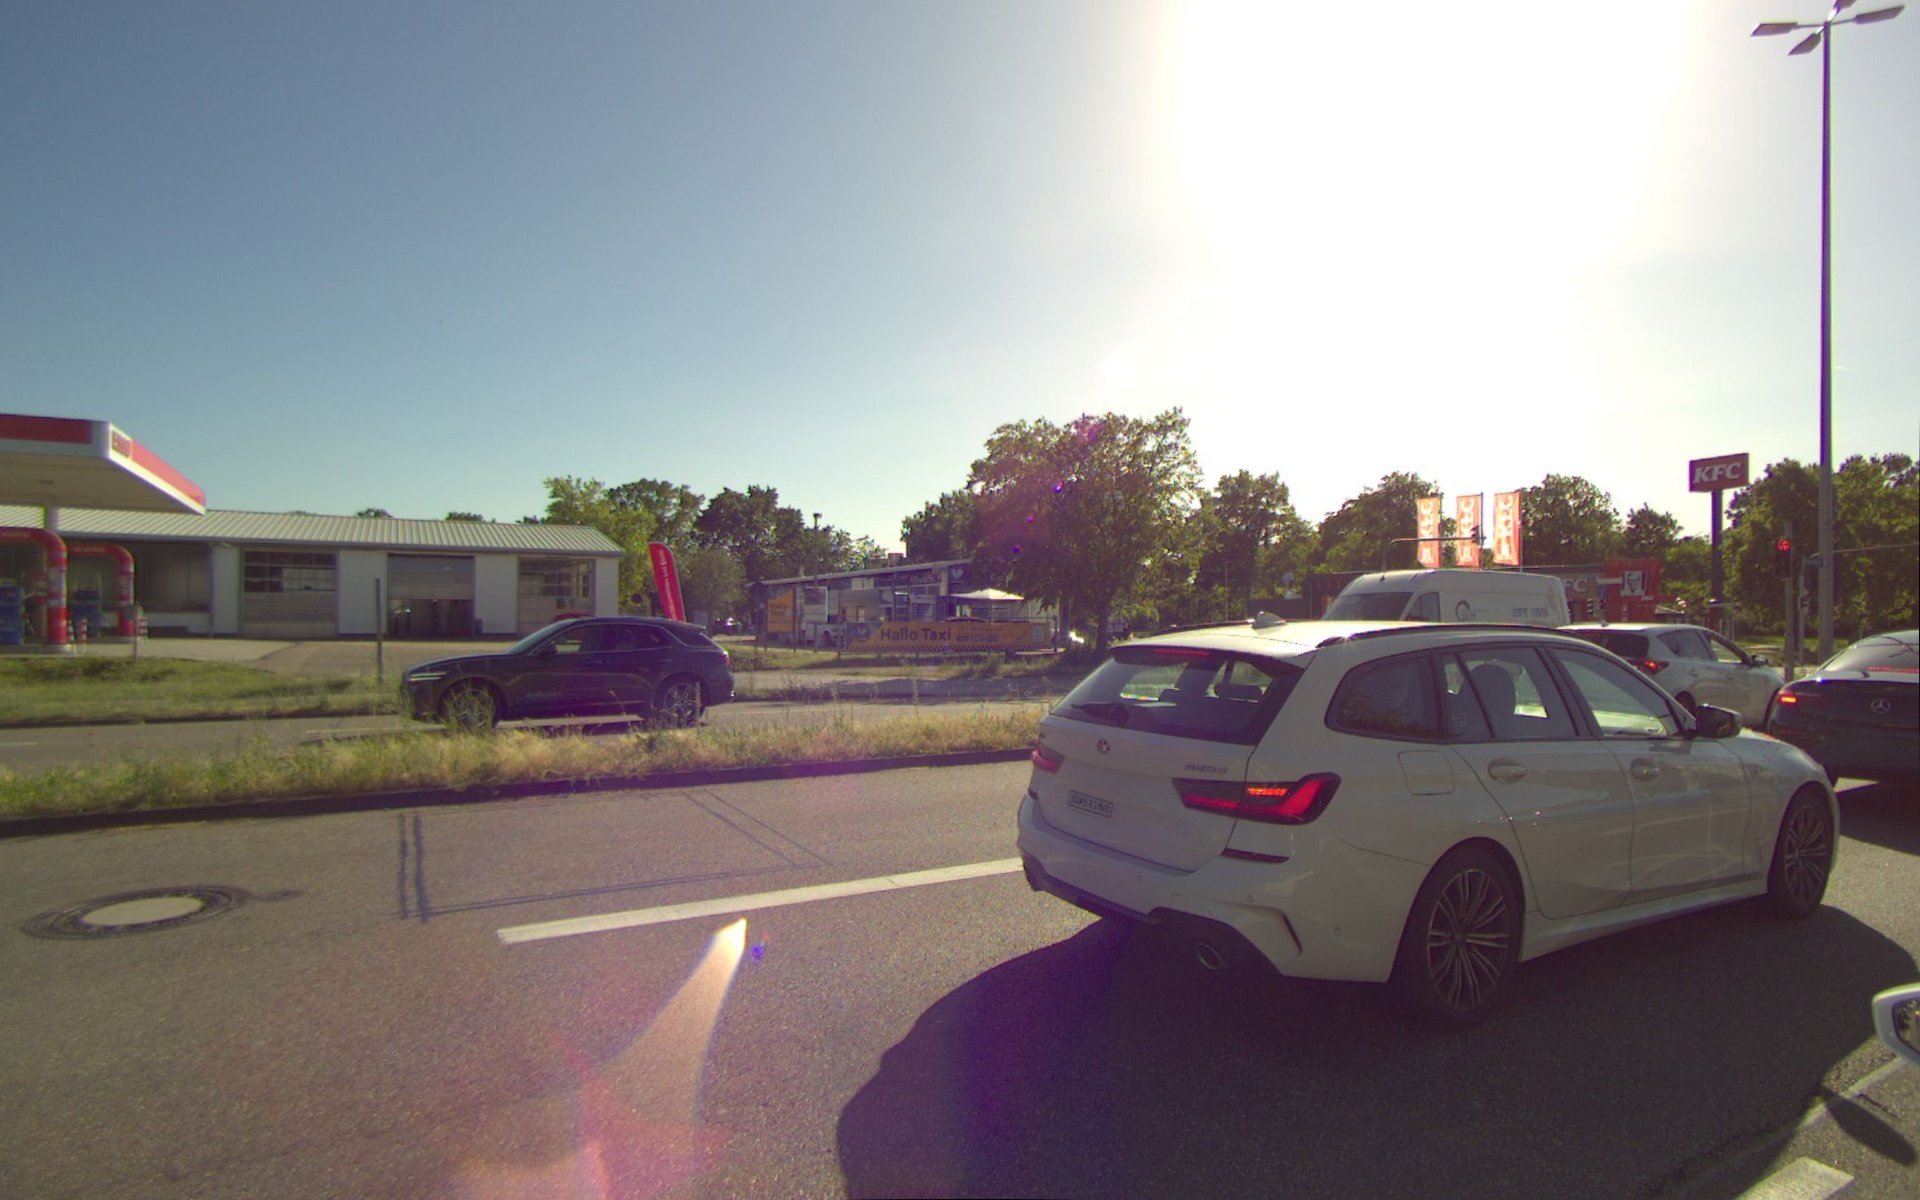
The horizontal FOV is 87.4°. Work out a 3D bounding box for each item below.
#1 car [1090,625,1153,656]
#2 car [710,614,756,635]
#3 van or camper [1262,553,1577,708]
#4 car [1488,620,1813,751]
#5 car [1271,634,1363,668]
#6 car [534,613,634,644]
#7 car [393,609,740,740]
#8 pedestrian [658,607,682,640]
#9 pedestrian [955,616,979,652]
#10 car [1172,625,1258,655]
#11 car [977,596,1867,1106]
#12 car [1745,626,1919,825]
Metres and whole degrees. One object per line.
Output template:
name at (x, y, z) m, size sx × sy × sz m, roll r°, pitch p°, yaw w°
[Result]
car at (9.817, 2.441, 61.288) m, size 1.738 × 1.751 × 3.969 m, roll 1°, pitch -1°, yaw -29°
car at (-19.931, 2.142, 88.257) m, size 2.085 × 1.840 × 4.000 m, roll 0°, pitch -1°, yaw 20°
van or camper at (9.082, 0.634, 19.617) m, size 6.675 × 2.606 × 2.168 m, roll 1°, pitch -3°, yaw -31°
car at (9.066, 1.004, 13.122) m, size 4.352 × 1.448 × 1.848 m, roll 1°, pitch -1°, yaw -30°
car at (17.033, 2.414, 48.133) m, size 1.801 × 1.448 × 4.022 m, roll 1°, pitch -1°, yaw -27°
car at (-18.453, 1.416, 49.343) m, size 4.486 × 1.458 × 1.741 m, roll 1°, pitch -1°, yaw -26°
car at (-5.811, 1.049, 14.992) m, size 4.563 × 1.674 × 1.983 m, roll 1°, pitch -3°, yaw -32°
pedestrian at (-16.019, 1.278, 55.411) m, size 1.085 × 1.787 × 1.152 m, roll 1°, pitch -1°, yaw -25°
pedestrian at (0.337, 1.737, 51.568) m, size 0.806 × 1.828 × 0.948 m, roll 0°, pitch -1°, yaw 42°
car at (13.786, 2.135, 54.520) m, size 1.840 × 1.449 × 4.701 m, roll 0°, pitch 0°, yaw -28°
car at (2.415, 0.796, 4.903) m, size 4.409 × 1.529 × 1.760 m, roll 1°, pitch -1°, yaw -30°
car at (8.794, 0.964, 8.623) m, size 4.409 × 1.433 × 1.760 m, roll 1°, pitch -1°, yaw -30°
